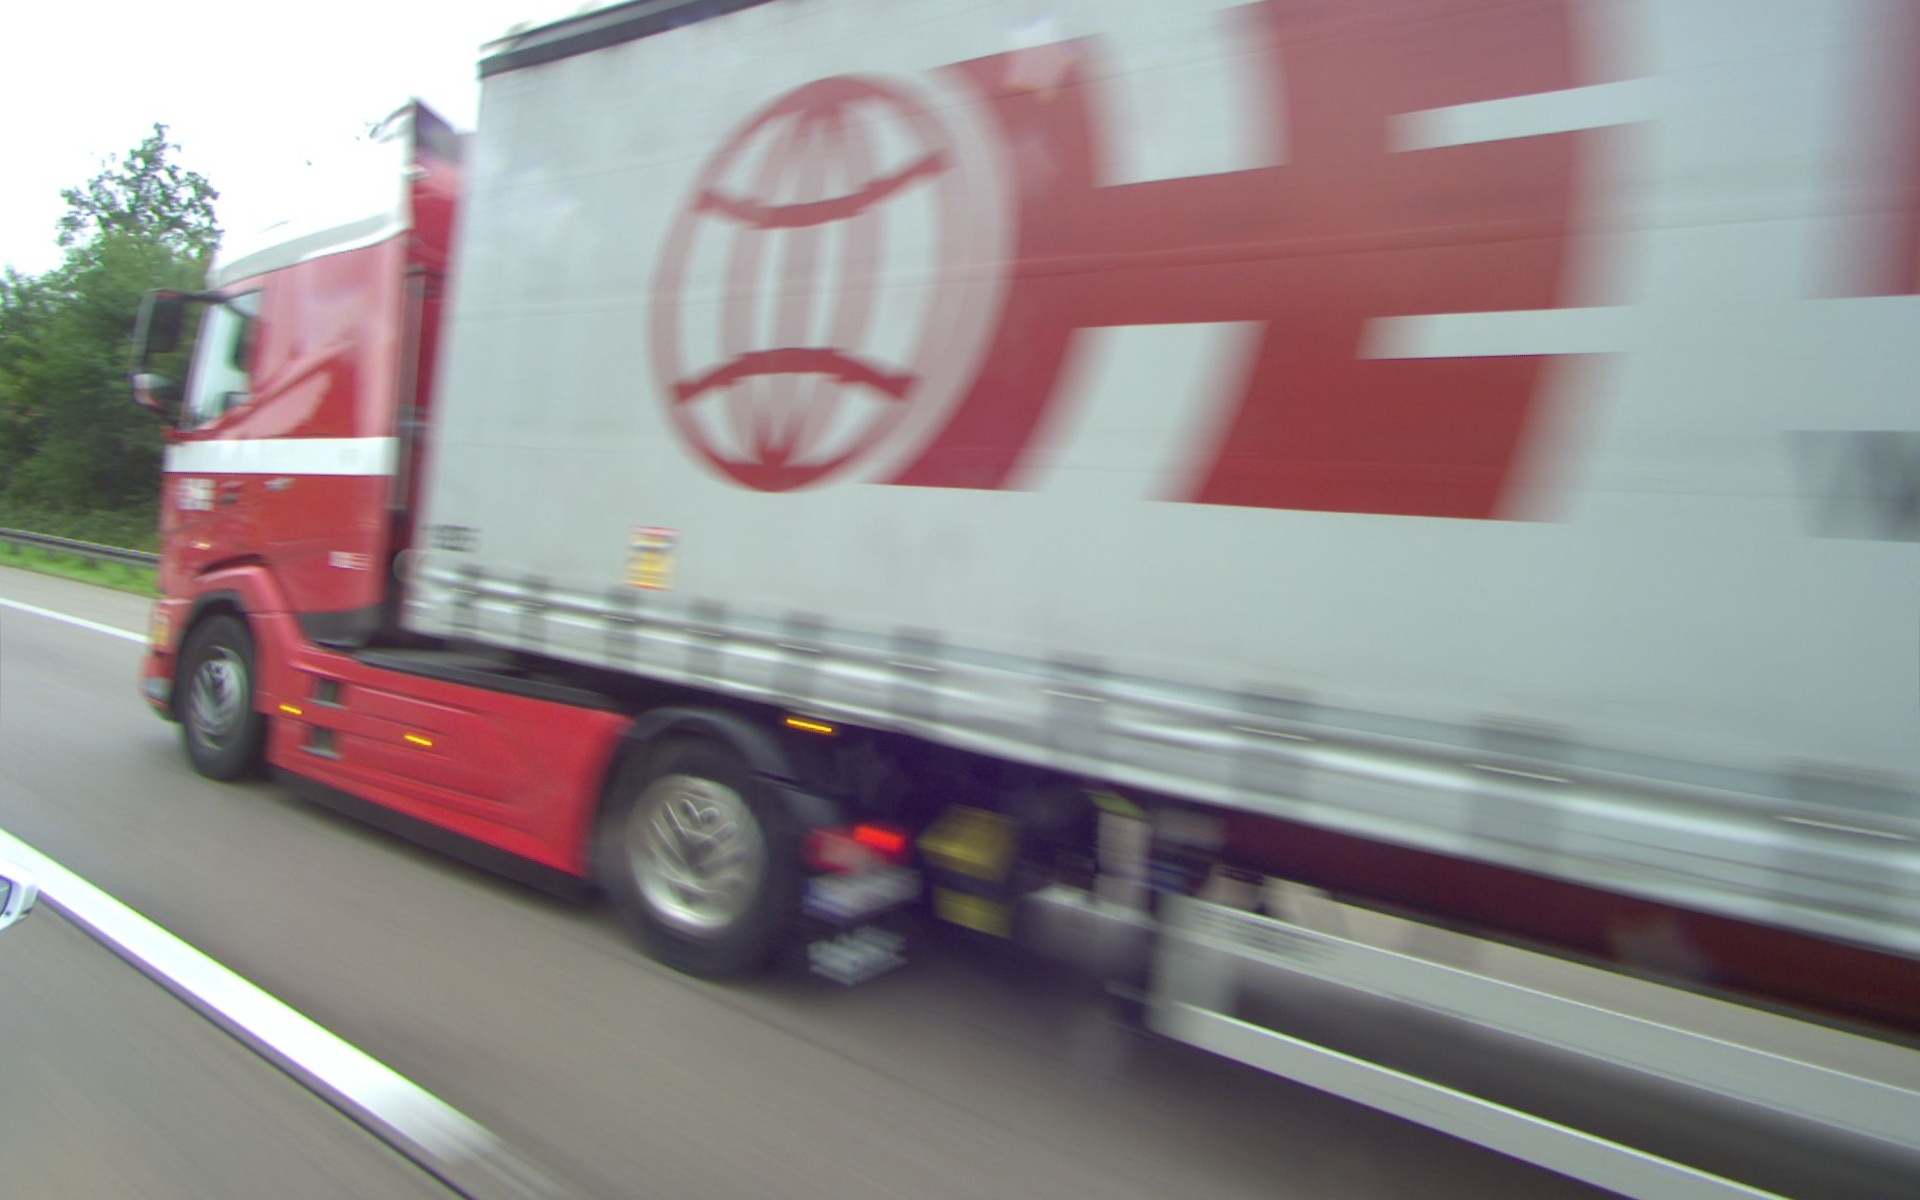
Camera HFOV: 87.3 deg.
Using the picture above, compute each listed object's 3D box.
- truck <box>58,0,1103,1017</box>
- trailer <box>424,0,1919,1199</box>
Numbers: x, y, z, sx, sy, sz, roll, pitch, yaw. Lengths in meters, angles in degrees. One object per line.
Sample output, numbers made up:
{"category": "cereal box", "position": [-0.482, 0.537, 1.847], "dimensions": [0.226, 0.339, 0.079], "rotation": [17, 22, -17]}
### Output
{"category": "truck", "position": [-2.623, -0.749, 6.120], "dimensions": [6.058, 4.002, 2.378], "rotation": [7, 0, 32]}
{"category": "trailer", "position": [3.643, -0.009, 2.106], "dimensions": [12.315, 4.002, 2.373], "rotation": [7, 0, 33]}
